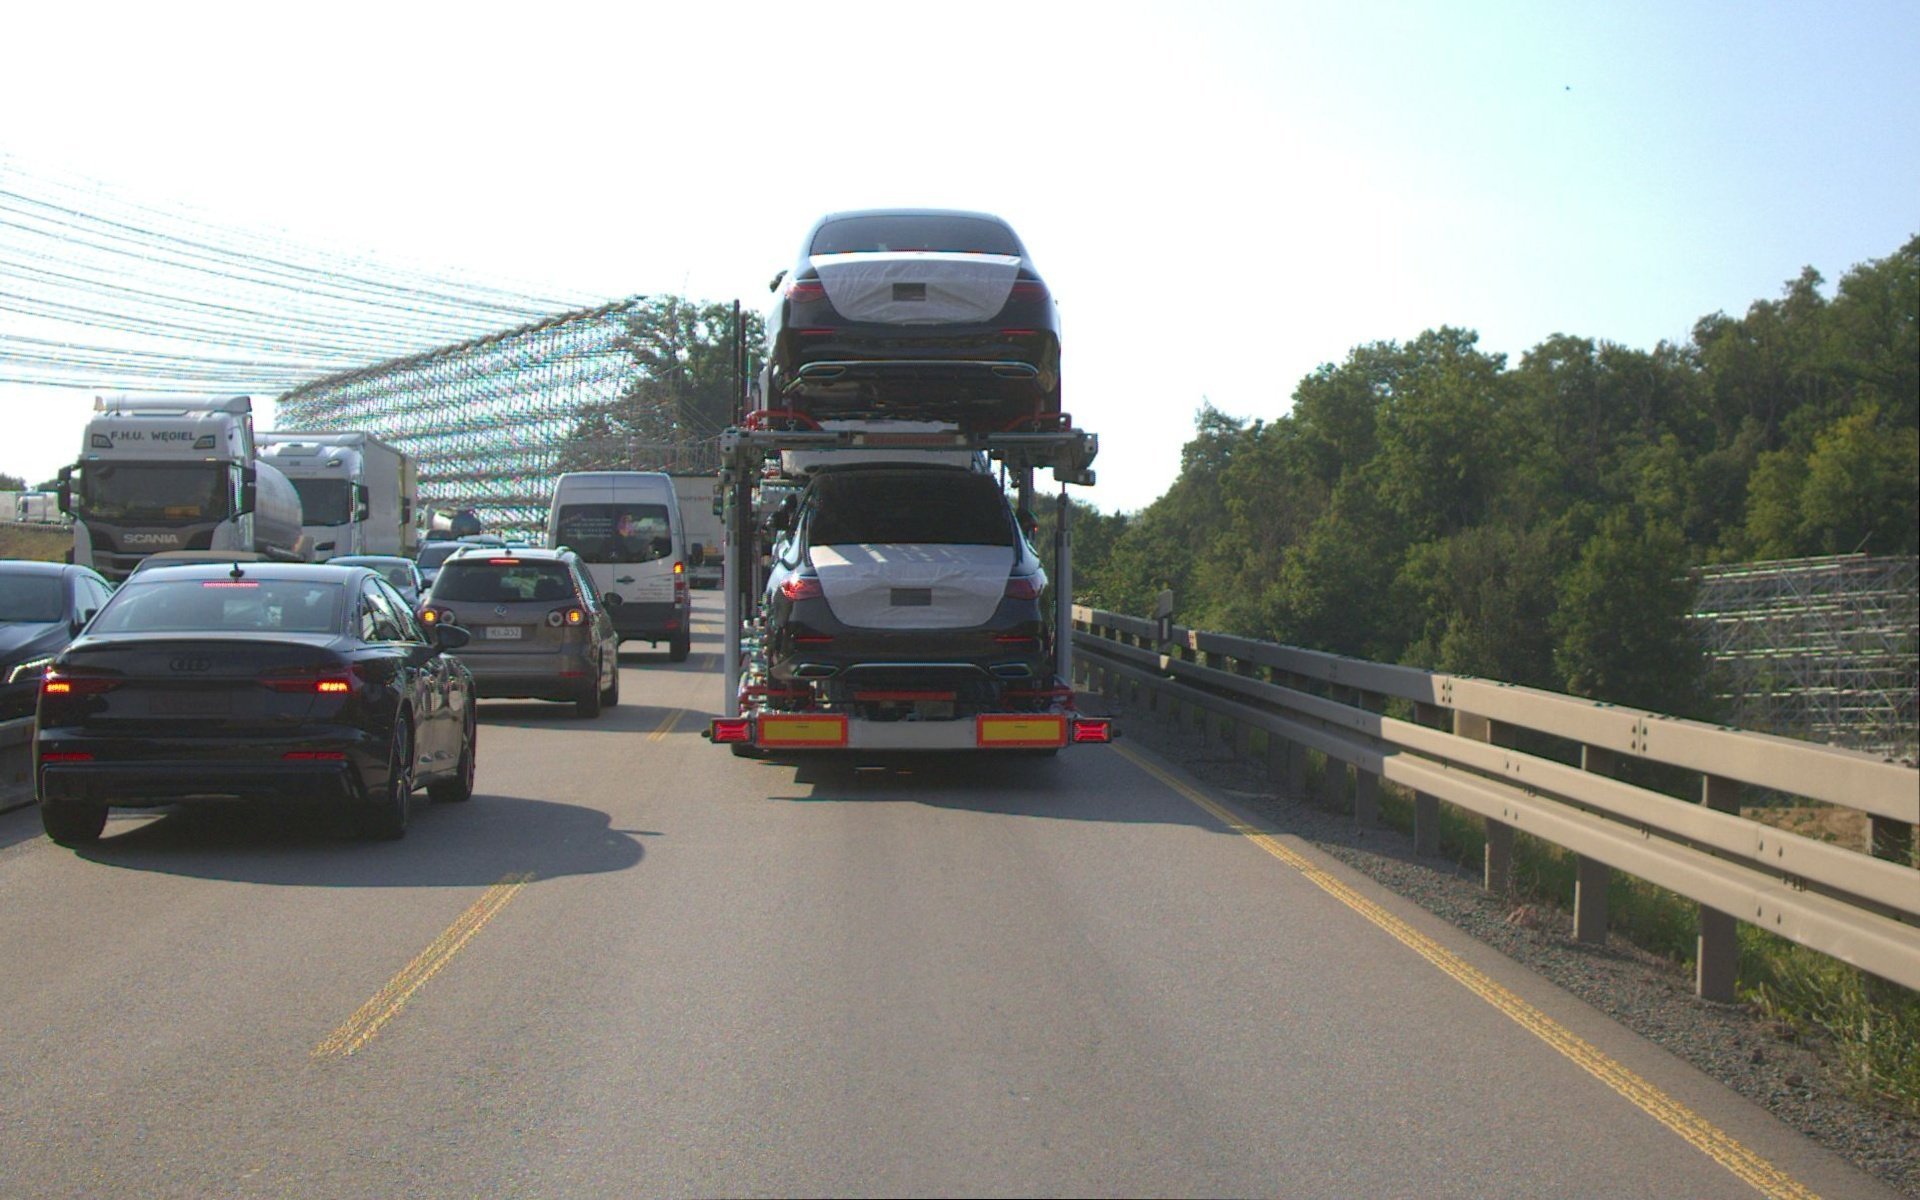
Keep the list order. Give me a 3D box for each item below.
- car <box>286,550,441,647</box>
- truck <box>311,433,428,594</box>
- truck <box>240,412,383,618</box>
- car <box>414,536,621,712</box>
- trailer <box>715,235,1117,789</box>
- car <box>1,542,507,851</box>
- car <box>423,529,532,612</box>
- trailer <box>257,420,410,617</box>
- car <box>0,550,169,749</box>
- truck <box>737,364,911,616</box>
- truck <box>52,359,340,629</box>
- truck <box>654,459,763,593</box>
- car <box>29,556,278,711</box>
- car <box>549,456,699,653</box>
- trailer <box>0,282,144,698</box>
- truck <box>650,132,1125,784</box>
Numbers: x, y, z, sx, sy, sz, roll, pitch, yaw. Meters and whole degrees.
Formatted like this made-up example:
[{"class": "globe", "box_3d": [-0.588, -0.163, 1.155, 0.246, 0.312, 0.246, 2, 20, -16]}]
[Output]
[{"class": "car", "box_3d": [-9.035, -0.014, 52.400, 1.739, 1.397, 4.903, 0, 0, -3]}, {"class": "truck", "box_3d": [-16.240, -2.323, 94.849, 2.893, 4.257, 5.772, 0, 0, -7]}, {"class": "truck", "box_3d": [-13.993, -1.761, 74.583, 2.443, 4.257, 6.323, 0, 0, -5]}, {"class": "car", "box_3d": [-4.208, 0.224, 33.160, 1.700, 1.581, 4.147, 0, 0, -4]}, {"class": "trailer", "box_3d": [-0.669, -0.619, 32.472, 2.874, 3.980, 15.280, 0, 0, -3]}, {"class": "car", "box_3d": [-3.799, 0.466, 19.447, 1.940, 1.475, 5.222, -1, 0, -2]}, {"class": "car", "box_3d": [-10.005, -0.596, 71.502, 1.846, 1.642, 4.560, -1, 0, -3]}, {"class": "trailer", "box_3d": [-14.521, -1.739, 80.398, 2.453, 4.251, 12.147, 0, 0, -5]}, {"class": "car", "box_3d": [-7.643, 0.373, 27.359, 1.797, 1.448, 4.616, 0, 0, -2]}, {"class": "truck", "box_3d": [-2.791, -2.171, 69.528, 3.228, 4.661, 11.697, 0, 1, -3]}, {"class": "truck", "box_3d": [-12.701, -1.566, 58.489, 2.808, 3.956, 13.895, 2, 0, -5]}, {"class": "truck", "box_3d": [-9.079, -2.700, 125.418, 3.648, 4.661, 11.697, 0, 1, -3]}, {"class": "car", "box_3d": [-8.337, 0.334, 35.866, 1.716, 1.503, 4.292, 0, 0, -2]}, {"class": "car", "box_3d": [-4.745, -0.622, 49.003, 1.979, 2.675, 4.147, 0, 0, -4]}, {"class": "trailer", "box_3d": [-10.993, -1.105, 34.052, 2.701, 4.189, 15.998, 0, 0, -3]}, {"class": "truck", "box_3d": [-0.403, -0.860, 23.895, 2.870, 3.966, 5.771, 0, 0, 1]}]
